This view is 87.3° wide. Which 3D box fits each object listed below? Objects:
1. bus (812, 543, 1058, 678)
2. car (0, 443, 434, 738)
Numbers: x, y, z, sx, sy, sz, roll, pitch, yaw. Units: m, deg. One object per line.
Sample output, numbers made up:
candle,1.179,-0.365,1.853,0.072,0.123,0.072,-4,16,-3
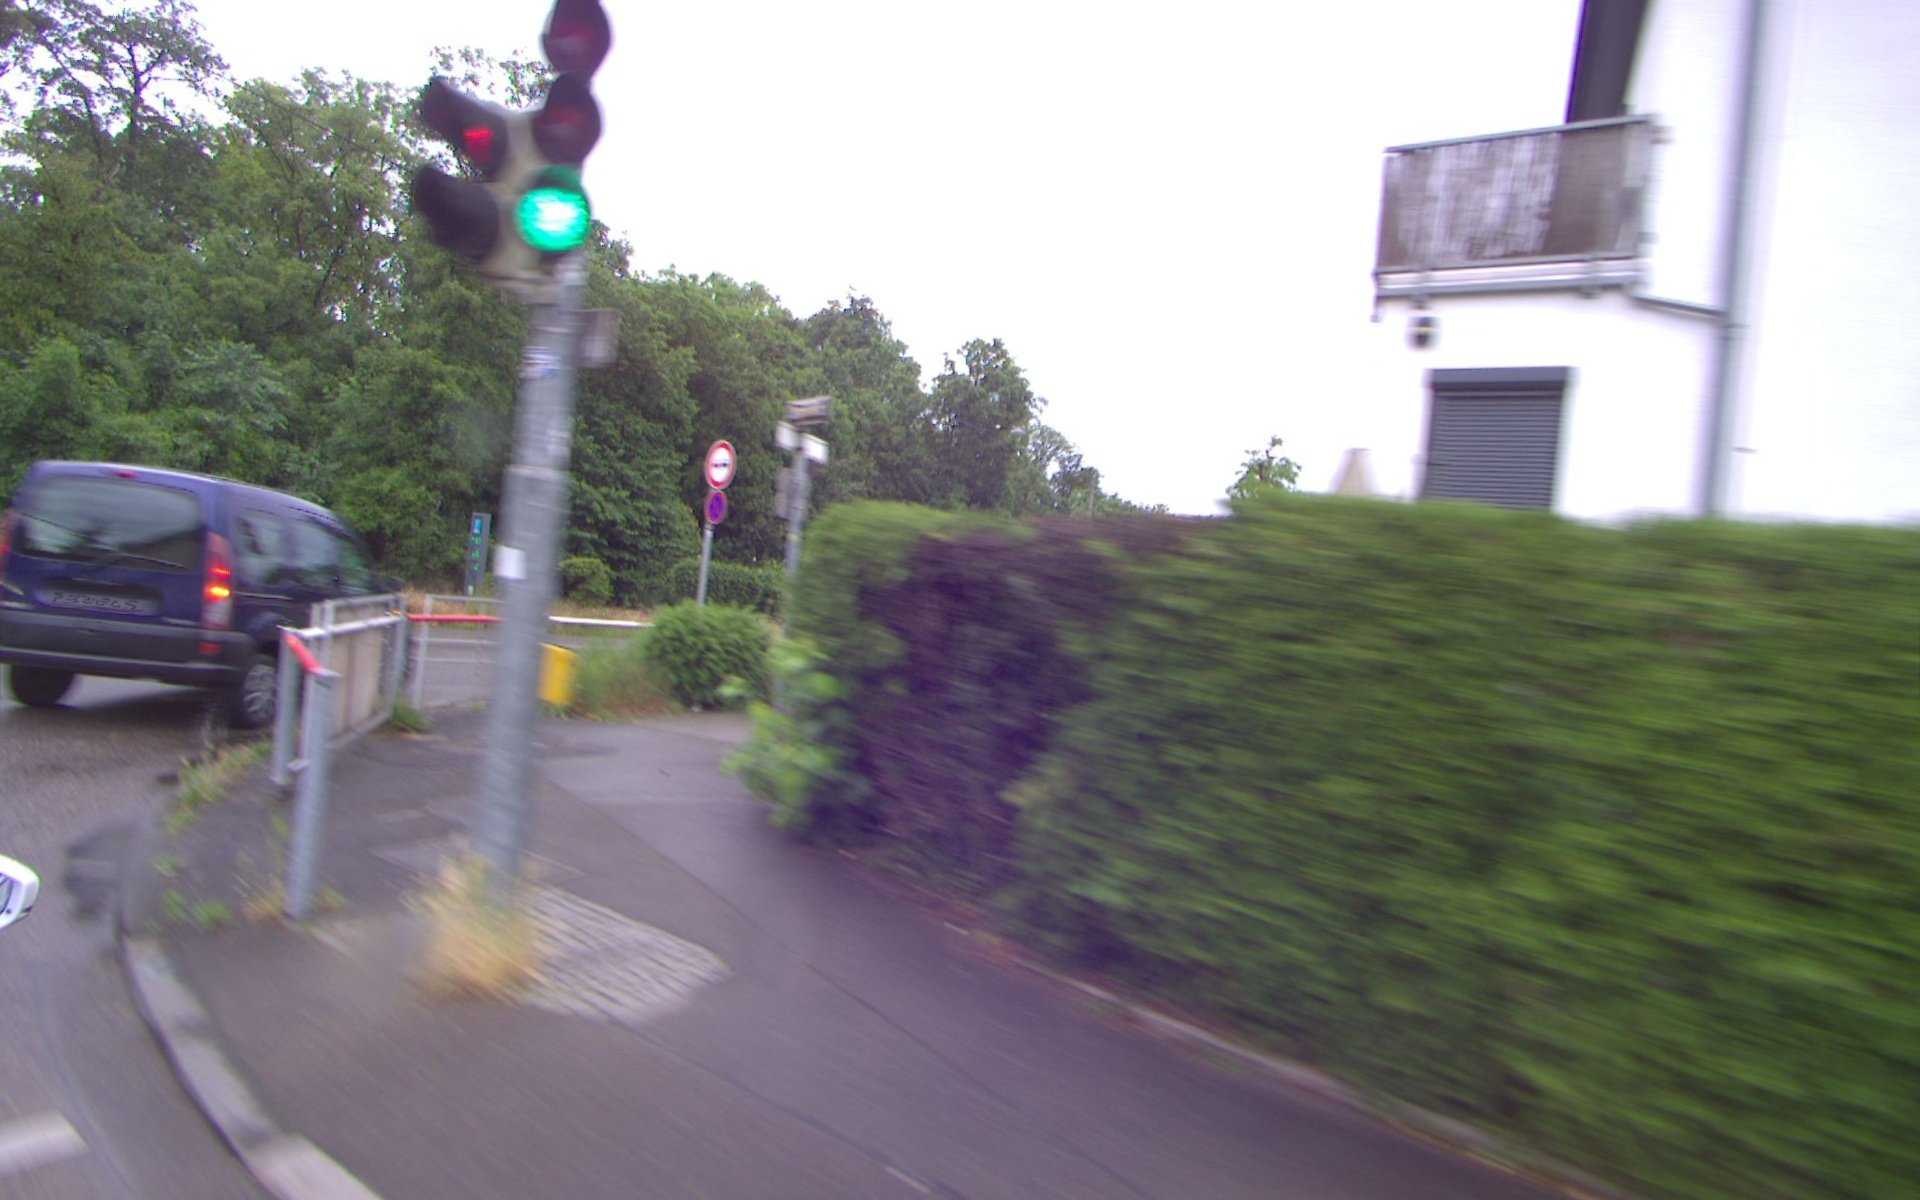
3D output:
bus,-0.316,0.525,29.298,2.606,3.081,9.217,7,0,29
car,-6.184,-0.063,8.736,1.786,1.819,3.990,6,-1,-14
